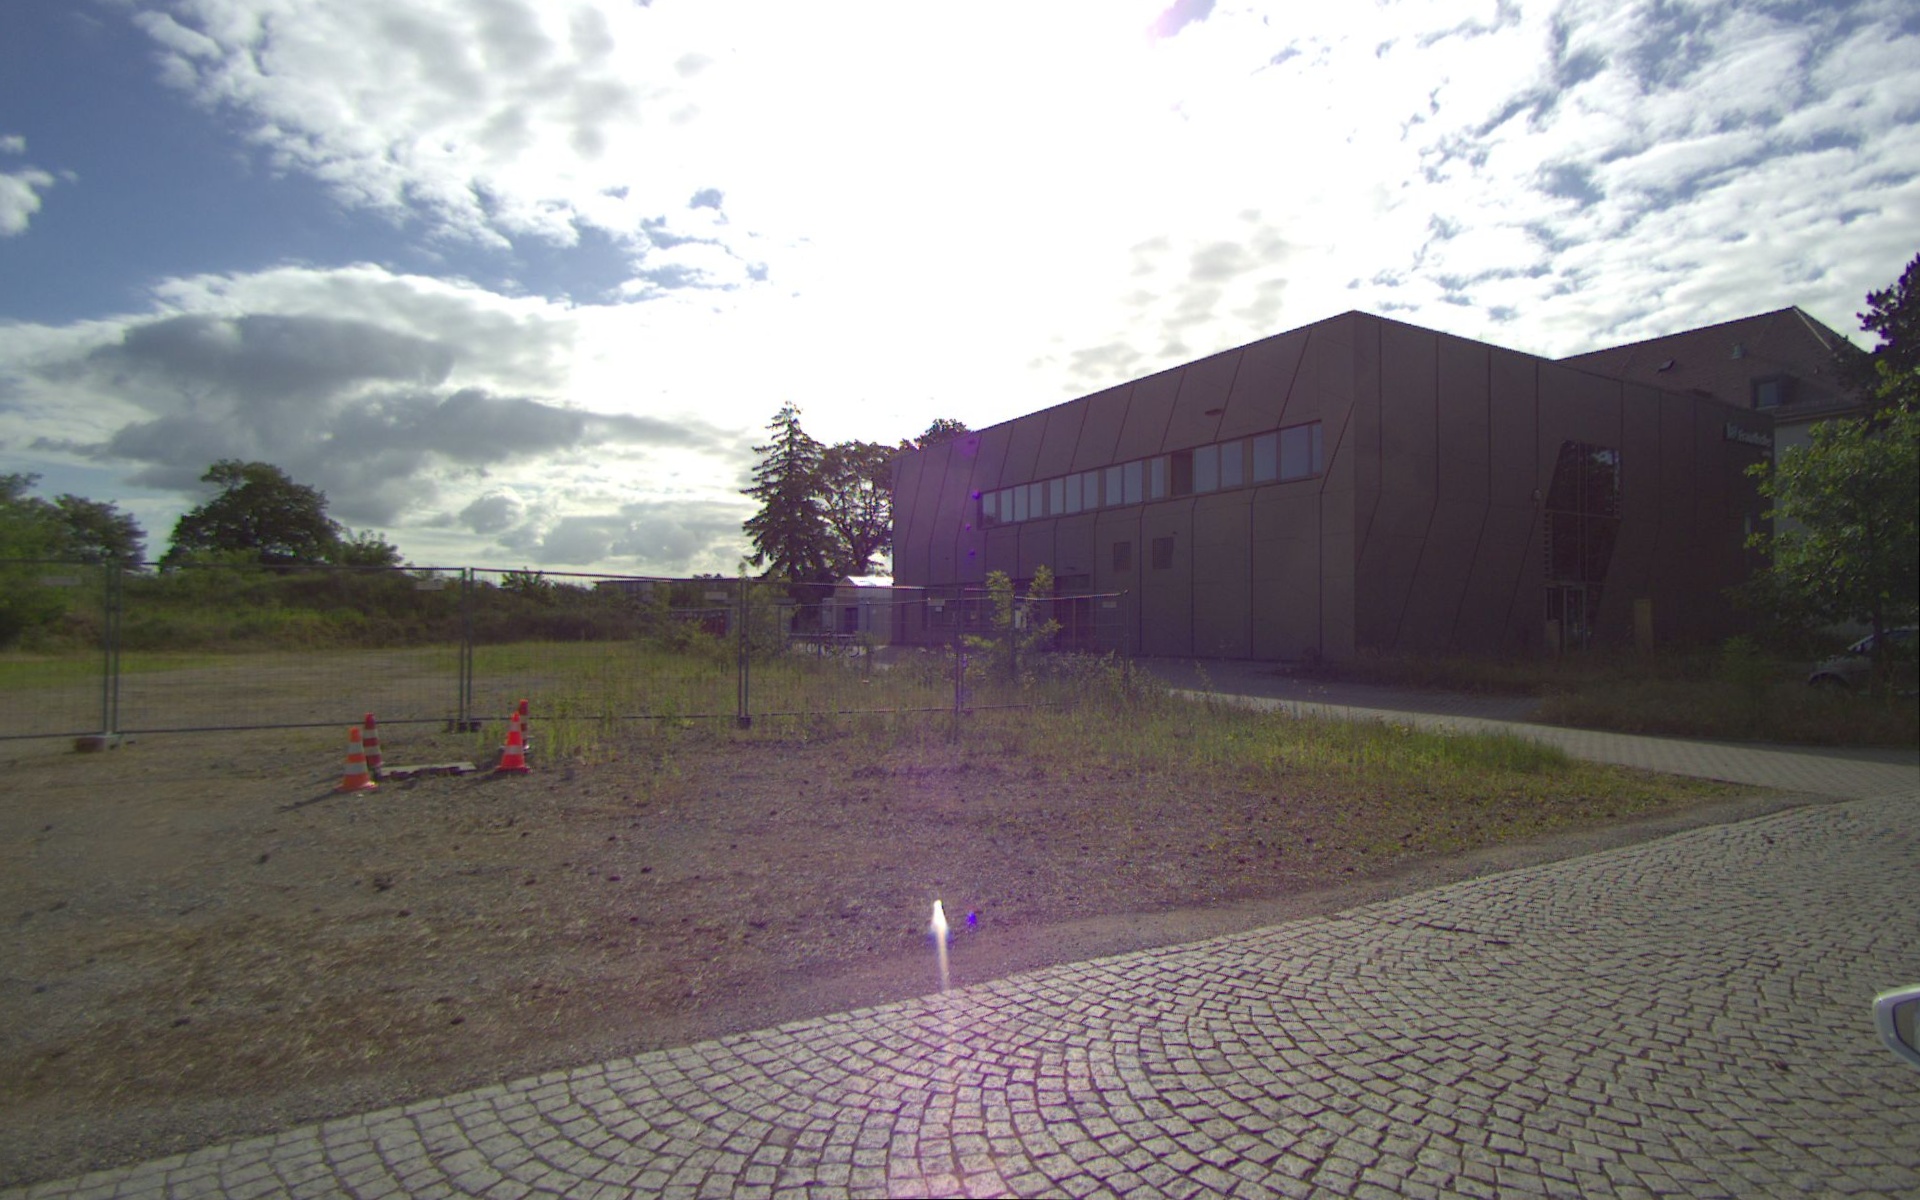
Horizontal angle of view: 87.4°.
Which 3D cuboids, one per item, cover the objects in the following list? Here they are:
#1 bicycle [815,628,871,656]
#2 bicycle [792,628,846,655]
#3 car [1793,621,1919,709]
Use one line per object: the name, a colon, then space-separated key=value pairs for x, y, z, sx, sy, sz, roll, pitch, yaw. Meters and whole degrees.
bicycle: x=-4.668 y=1.667 z=40.044 sx=2.047 sy=1.101 sz=0.938 roll=1 pitch=-1 yaw=-33
bicycle: x=-5.882 y=1.724 z=41.929 sx=2.047 sy=1.058 sz=0.938 roll=1 pitch=-1 yaw=-33
car: x=17.589 y=1.179 z=18.792 sx=1.406 sy=1.570 sz=2.751 roll=1 pitch=-2 yaw=-26
